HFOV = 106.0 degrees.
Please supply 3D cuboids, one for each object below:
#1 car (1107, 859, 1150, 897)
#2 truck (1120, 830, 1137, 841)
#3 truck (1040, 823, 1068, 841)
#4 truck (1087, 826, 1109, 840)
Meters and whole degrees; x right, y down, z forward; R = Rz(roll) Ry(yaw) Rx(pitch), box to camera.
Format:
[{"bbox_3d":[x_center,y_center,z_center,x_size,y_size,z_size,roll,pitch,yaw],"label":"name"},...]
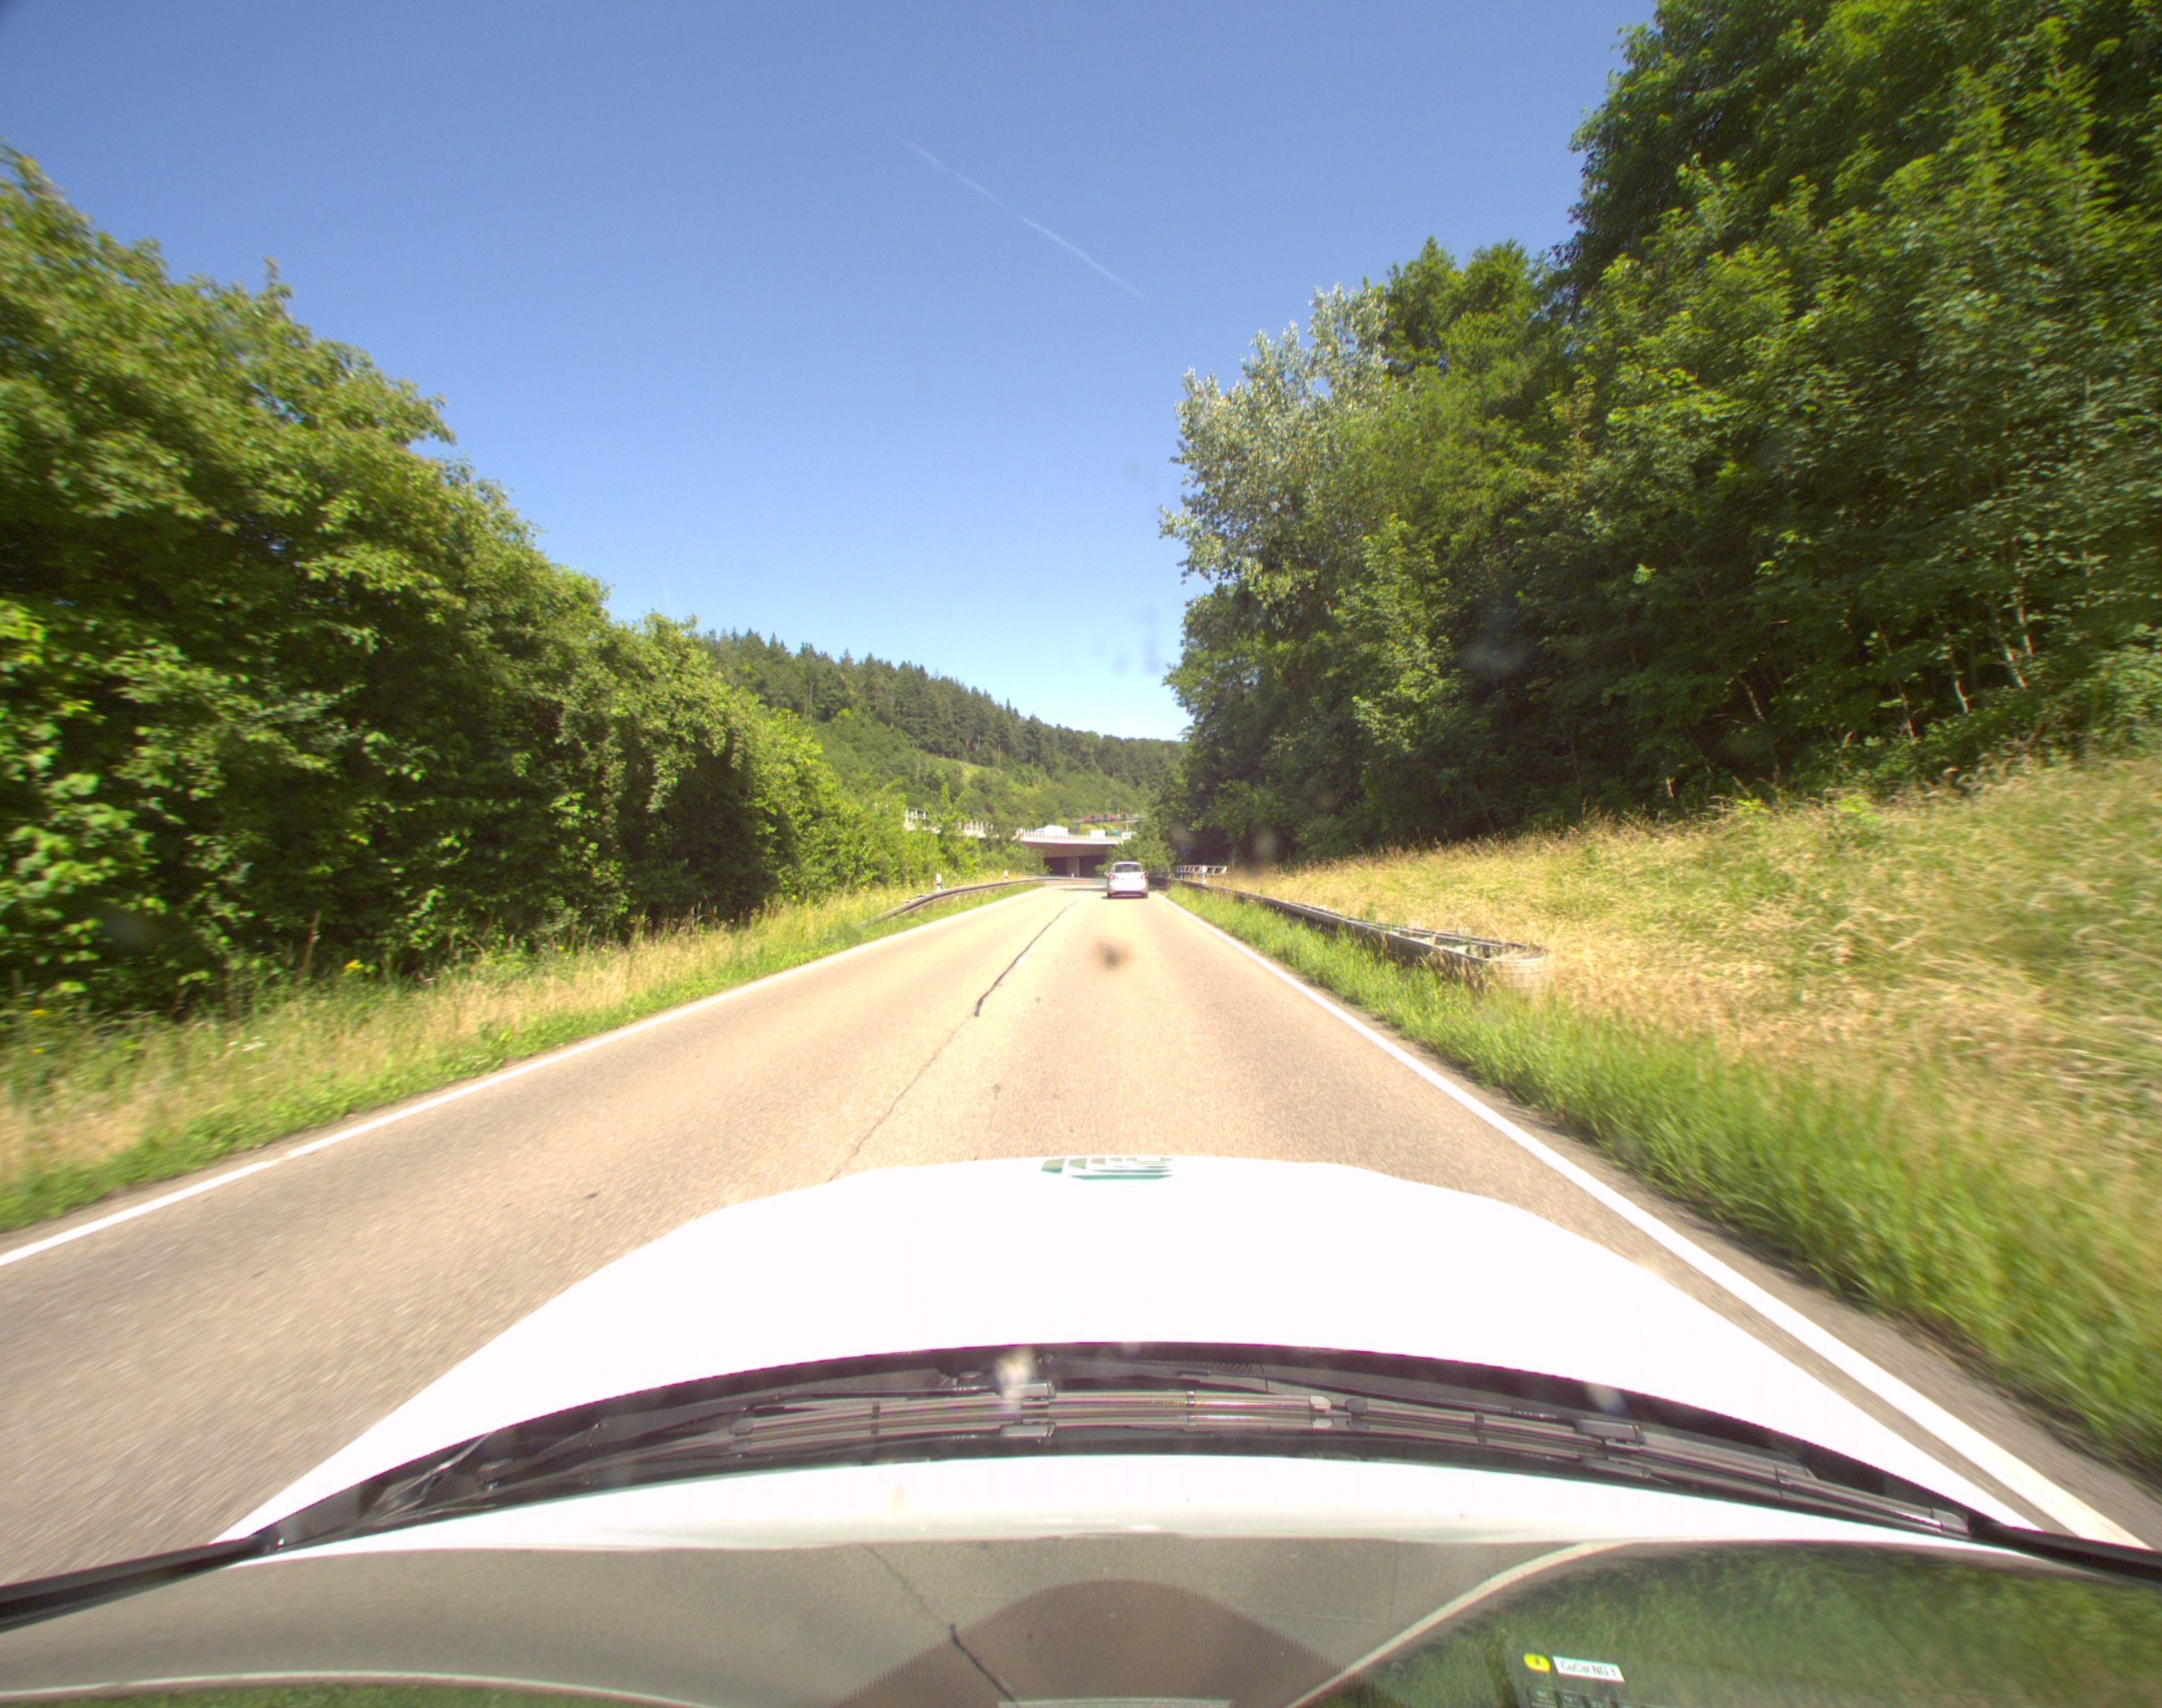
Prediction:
[{"bbox_3d":[2.037,1.019,35.465,1.744,1.520,4.161,-1,-1,2],"label":"car"},{"bbox_3d":[15.248,-5.827,260.410,3.516,3.423,9.934,-1,0,13],"label":"truck"},{"bbox_3d":[-5.497,-4.576,168.765,3.347,3.355,10.211,-1,-1,13],"label":"truck"},{"bbox_3d":[4.504,-5.477,216.161,3.733,3.385,10.545,-1,0,13],"label":"truck"}]
